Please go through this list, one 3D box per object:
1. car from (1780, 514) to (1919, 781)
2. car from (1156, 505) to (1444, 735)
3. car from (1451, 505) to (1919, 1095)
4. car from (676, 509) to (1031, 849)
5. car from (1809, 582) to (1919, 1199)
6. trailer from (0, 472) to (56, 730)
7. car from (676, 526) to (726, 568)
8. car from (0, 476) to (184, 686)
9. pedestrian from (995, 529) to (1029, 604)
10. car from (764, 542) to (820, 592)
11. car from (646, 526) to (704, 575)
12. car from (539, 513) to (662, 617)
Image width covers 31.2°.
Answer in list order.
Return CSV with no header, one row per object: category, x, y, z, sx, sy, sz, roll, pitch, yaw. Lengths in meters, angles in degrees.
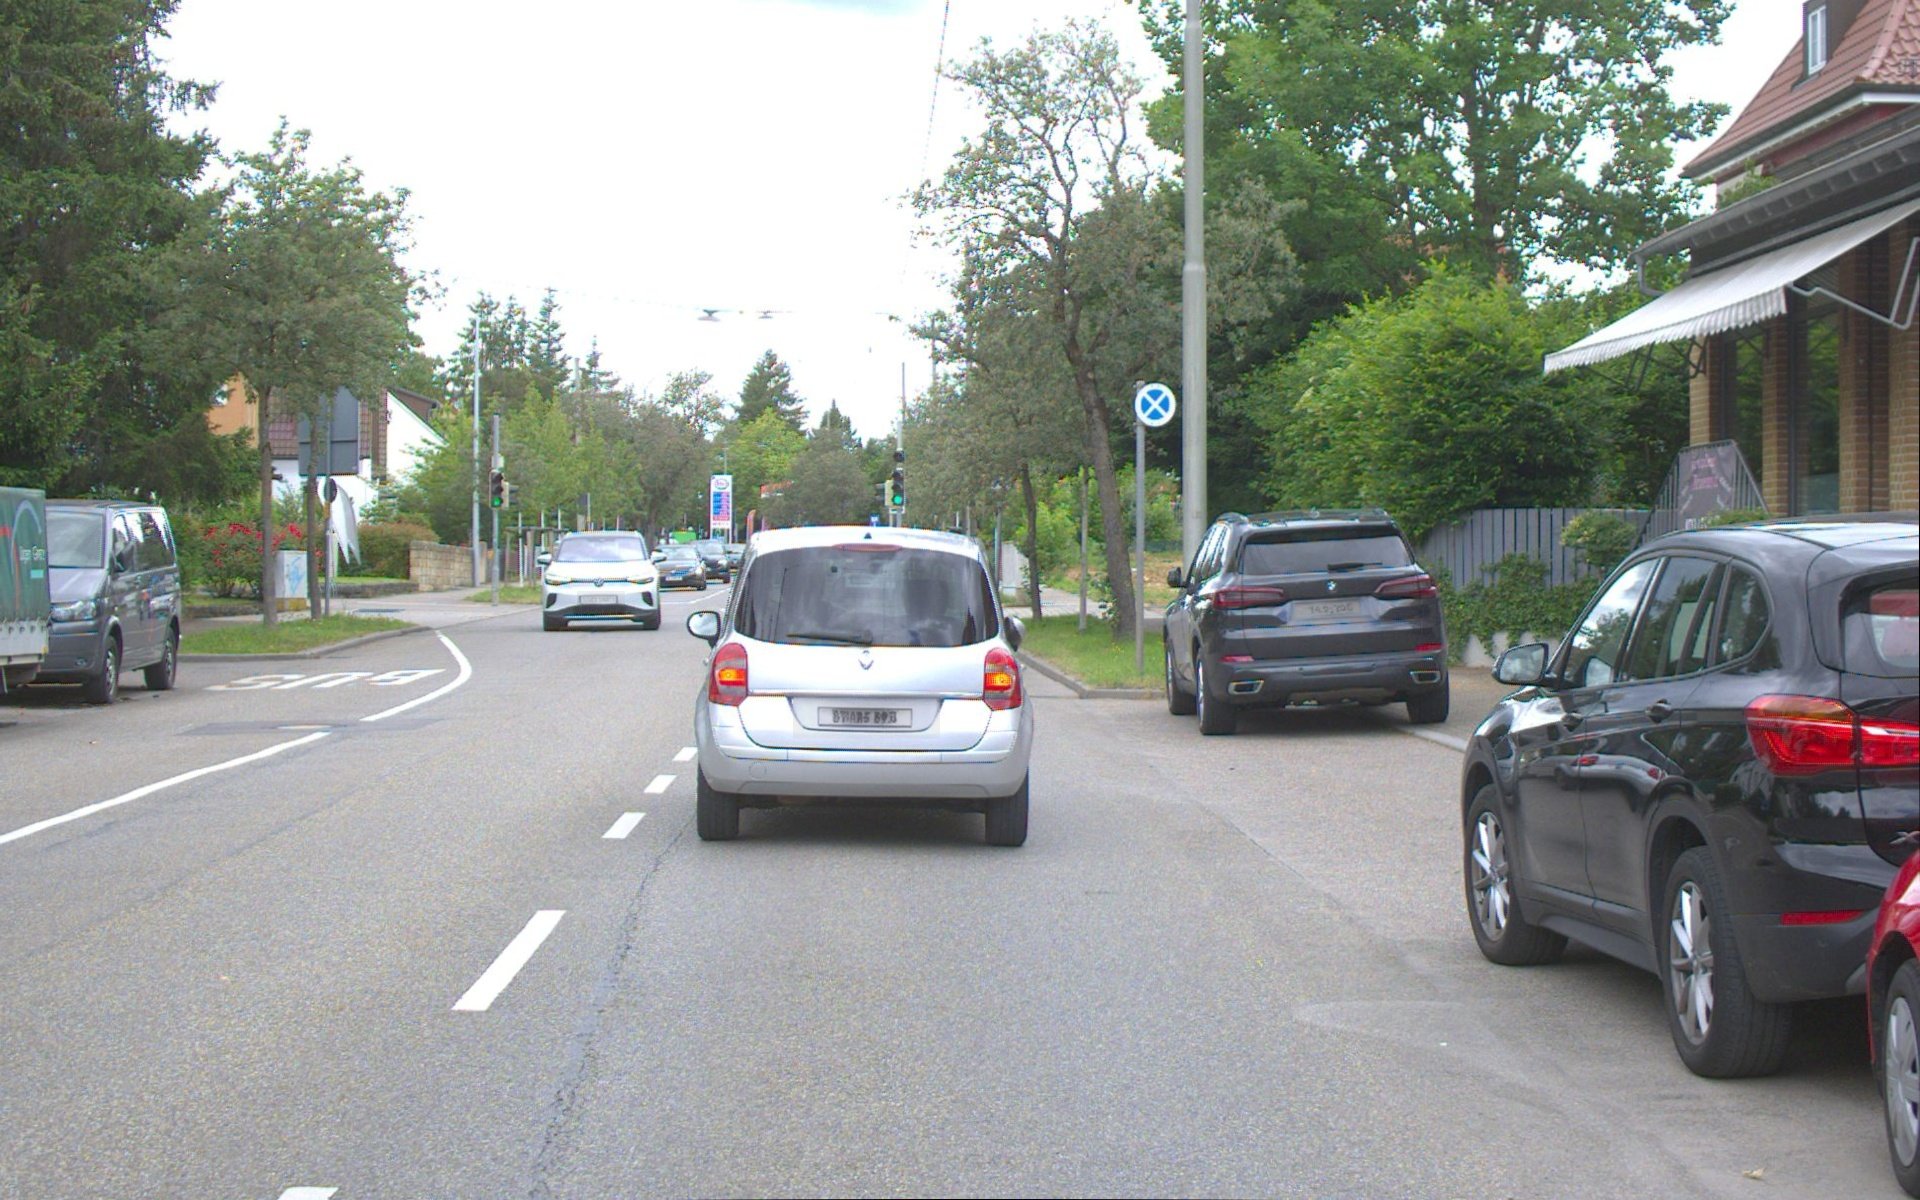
car,7.191,0.173,20.610,3.986,1.491,1.810,-3,1,-9
car,2.698,0.149,28.131,1.812,1.737,4.000,-1,0,-2
car,2.849,0.493,11.175,1.662,1.559,4.099,0,1,-4
car,-0.522,0.373,18.235,1.630,1.551,4.000,2,0,-1
car,2.949,0.681,6.776,1.662,1.388,3.668,-1,1,0
trailer,-8.842,-0.022,26.634,2.312,2.079,5.873,2,0,-3
car,-9.381,-1.920,124.537,1.721,1.406,4.001,2,0,-4
car,-9.072,-0.194,34.044,1.887,1.915,4.562,2,0,-3
pedestrian,1.138,-0.739,75.819,0.705,1.641,0.773,0,1,-2
car,-5.809,-1.151,118.994,1.829,1.670,3.574,0,1,-1
car,-8.815,-1.513,106.570,1.721,1.406,4.001,2,0,-4
car,-5.860,-0.559,56.395,1.905,1.612,4.001,1,0,-5
